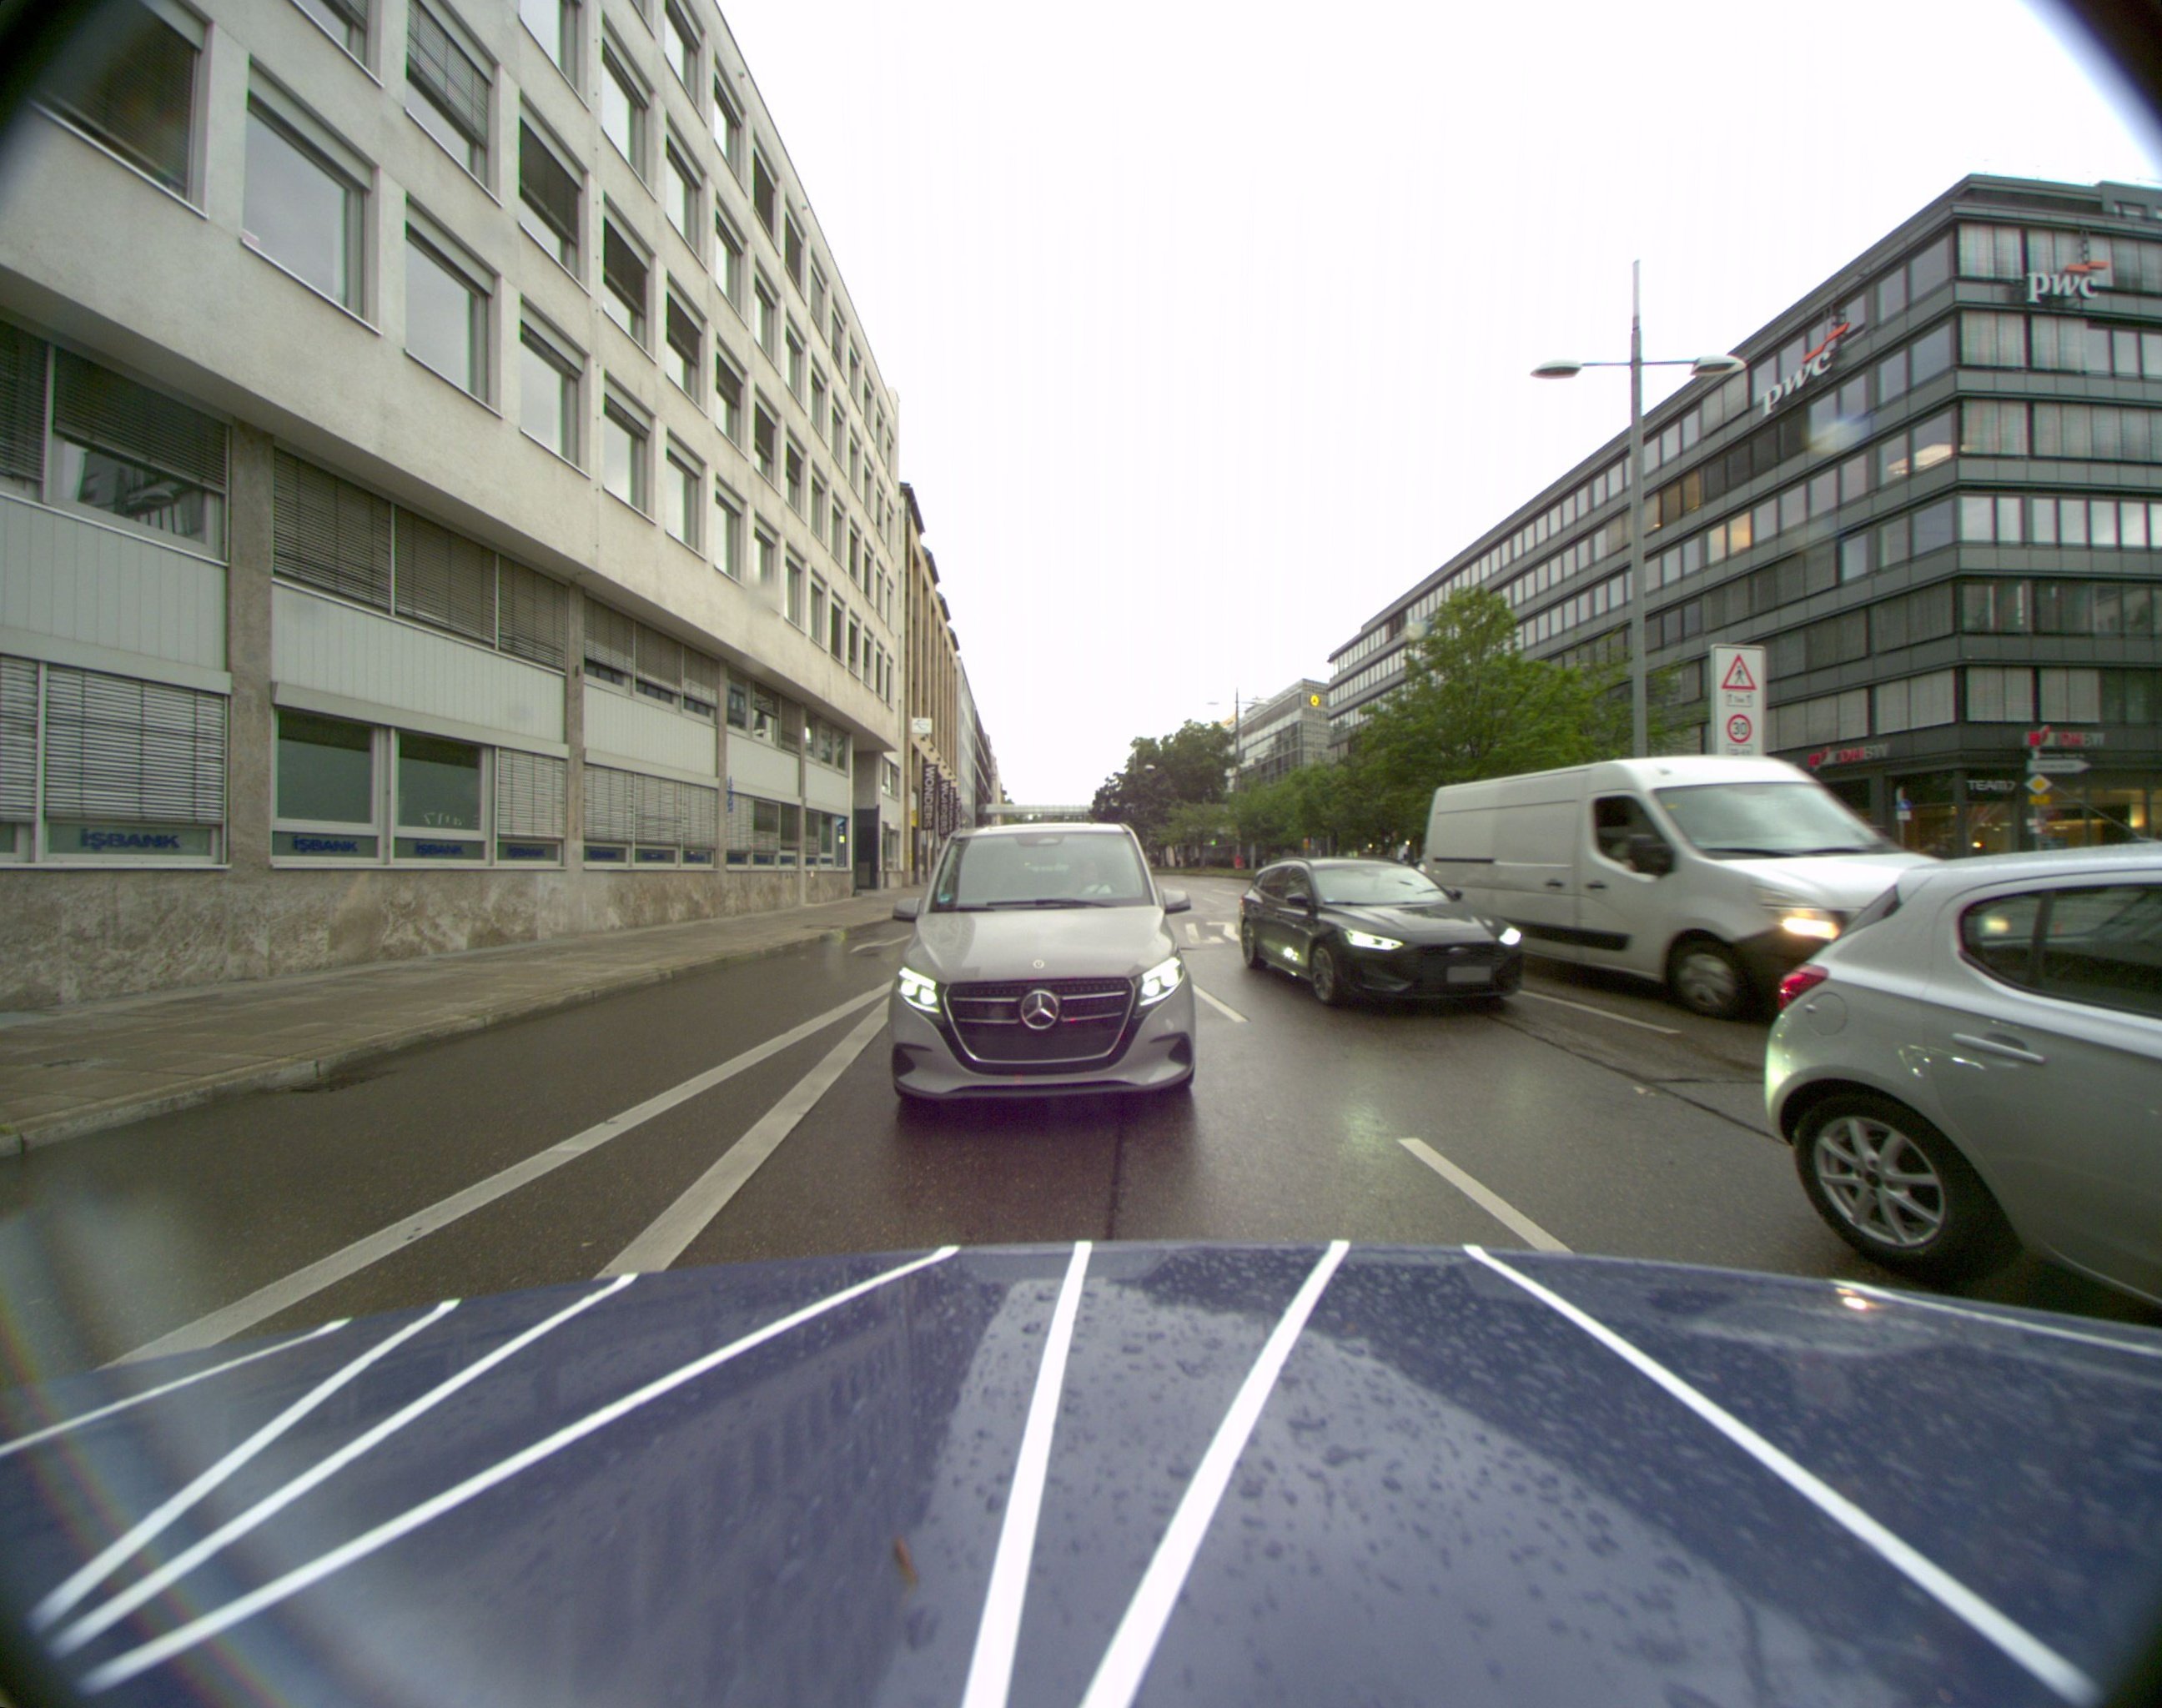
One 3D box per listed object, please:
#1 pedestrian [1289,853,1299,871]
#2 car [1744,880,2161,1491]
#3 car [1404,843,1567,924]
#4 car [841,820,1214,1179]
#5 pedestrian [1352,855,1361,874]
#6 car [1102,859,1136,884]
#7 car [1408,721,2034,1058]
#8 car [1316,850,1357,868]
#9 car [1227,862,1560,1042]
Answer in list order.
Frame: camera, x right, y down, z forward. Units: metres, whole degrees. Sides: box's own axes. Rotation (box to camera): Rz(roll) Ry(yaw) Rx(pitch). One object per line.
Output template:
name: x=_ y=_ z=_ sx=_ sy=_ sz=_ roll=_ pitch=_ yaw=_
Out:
pedestrian: x=24.768 y=0.919 z=88.518 sx=0.928 sy=2.002 sz=0.539 roll=-2 pitch=0 yaw=-1
car: x=3.501 y=0.844 z=1.102 sx=1.652 sy=1.427 sz=3.875 roll=-2 pitch=0 yaw=0
car: x=9.013 y=0.614 z=17.275 sx=1.766 sy=1.608 sz=3.495 roll=-2 pitch=0 yaw=-1
car: x=-0.299 y=0.780 z=6.558 sx=1.916 sy=1.844 sz=5.026 roll=-2 pitch=0 yaw=0
pedestrian: x=29.325 y=1.129 z=80.956 sx=0.689 sy=2.002 sz=0.501 roll=-2 pitch=0 yaw=-3
car: x=2.240 y=1.014 z=45.748 sx=1.776 sy=1.372 sz=4.094 roll=-2 pitch=0 yaw=-1
car: x=5.962 y=0.264 z=8.369 sx=1.952 sy=2.426 sz=5.478 roll=-2 pitch=0 yaw=-4
car: x=22.392 y=0.454 z=66.683 sx=1.999 sy=1.498 sz=3.999 roll=-2 pitch=0 yaw=-4
car: x=3.049 y=0.843 z=8.458 sx=1.776 sy=1.427 sz=4.093 roll=-2 pitch=0 yaw=-4
